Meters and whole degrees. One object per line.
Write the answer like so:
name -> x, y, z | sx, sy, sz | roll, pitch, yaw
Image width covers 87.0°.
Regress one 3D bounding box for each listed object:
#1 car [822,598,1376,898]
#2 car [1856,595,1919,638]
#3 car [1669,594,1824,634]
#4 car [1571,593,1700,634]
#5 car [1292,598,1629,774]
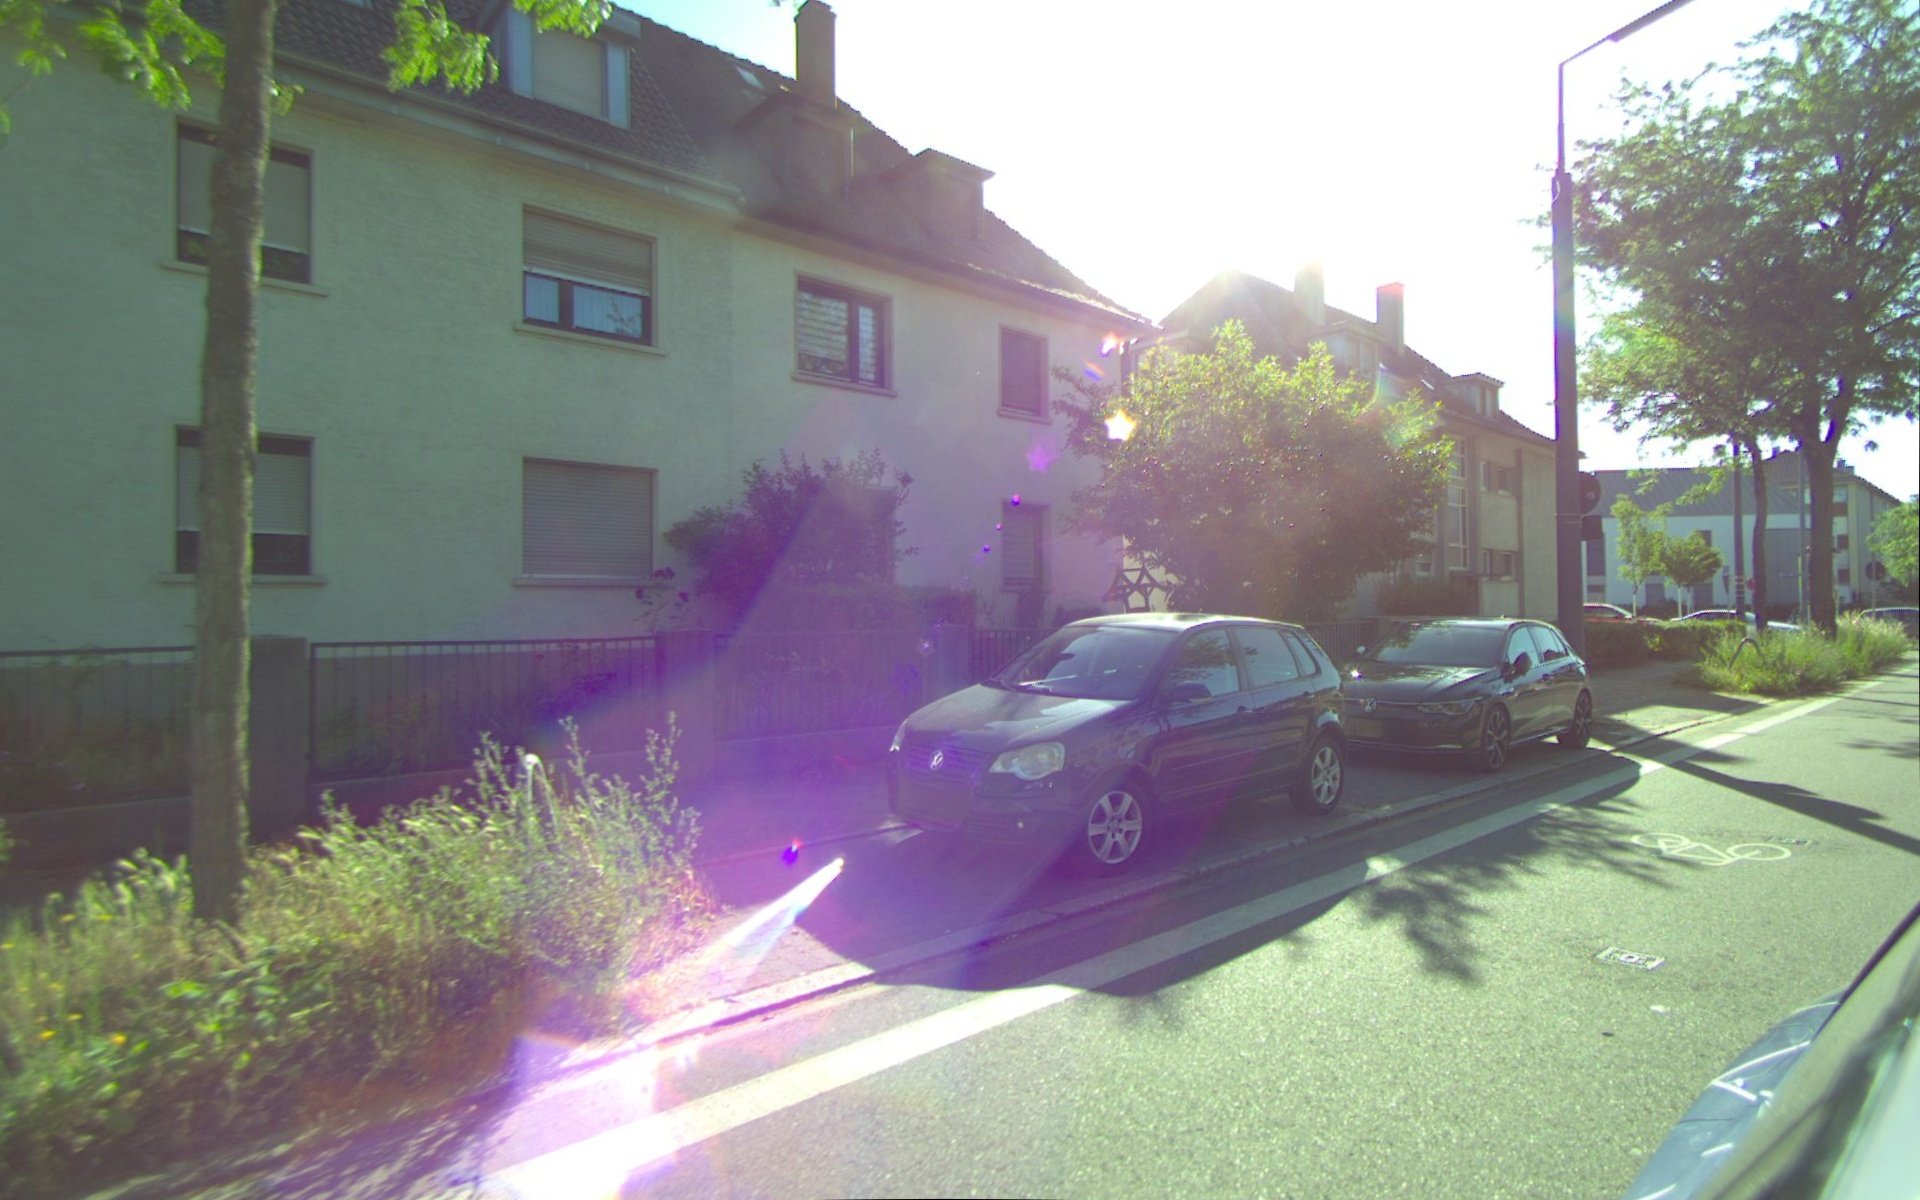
car -> 1.153, 0.753, 7.127 | 3.927, 1.514, 1.751 | 0, 0, -42
car -> 34.896, 0.567, 36.055 | 1.943, 1.527, 4.002 | 0, -1, -31
car -> 32.218, 0.571, 41.630 | 1.942, 1.484, 4.623 | -2, 0, -29
car -> 28.478, 0.592, 42.772 | 1.948, 1.663, 4.167 | 0, -1, -42
car -> 5.524, 0.747, 10.902 | 4.366, 1.514, 1.751 | 0, 0, -42
